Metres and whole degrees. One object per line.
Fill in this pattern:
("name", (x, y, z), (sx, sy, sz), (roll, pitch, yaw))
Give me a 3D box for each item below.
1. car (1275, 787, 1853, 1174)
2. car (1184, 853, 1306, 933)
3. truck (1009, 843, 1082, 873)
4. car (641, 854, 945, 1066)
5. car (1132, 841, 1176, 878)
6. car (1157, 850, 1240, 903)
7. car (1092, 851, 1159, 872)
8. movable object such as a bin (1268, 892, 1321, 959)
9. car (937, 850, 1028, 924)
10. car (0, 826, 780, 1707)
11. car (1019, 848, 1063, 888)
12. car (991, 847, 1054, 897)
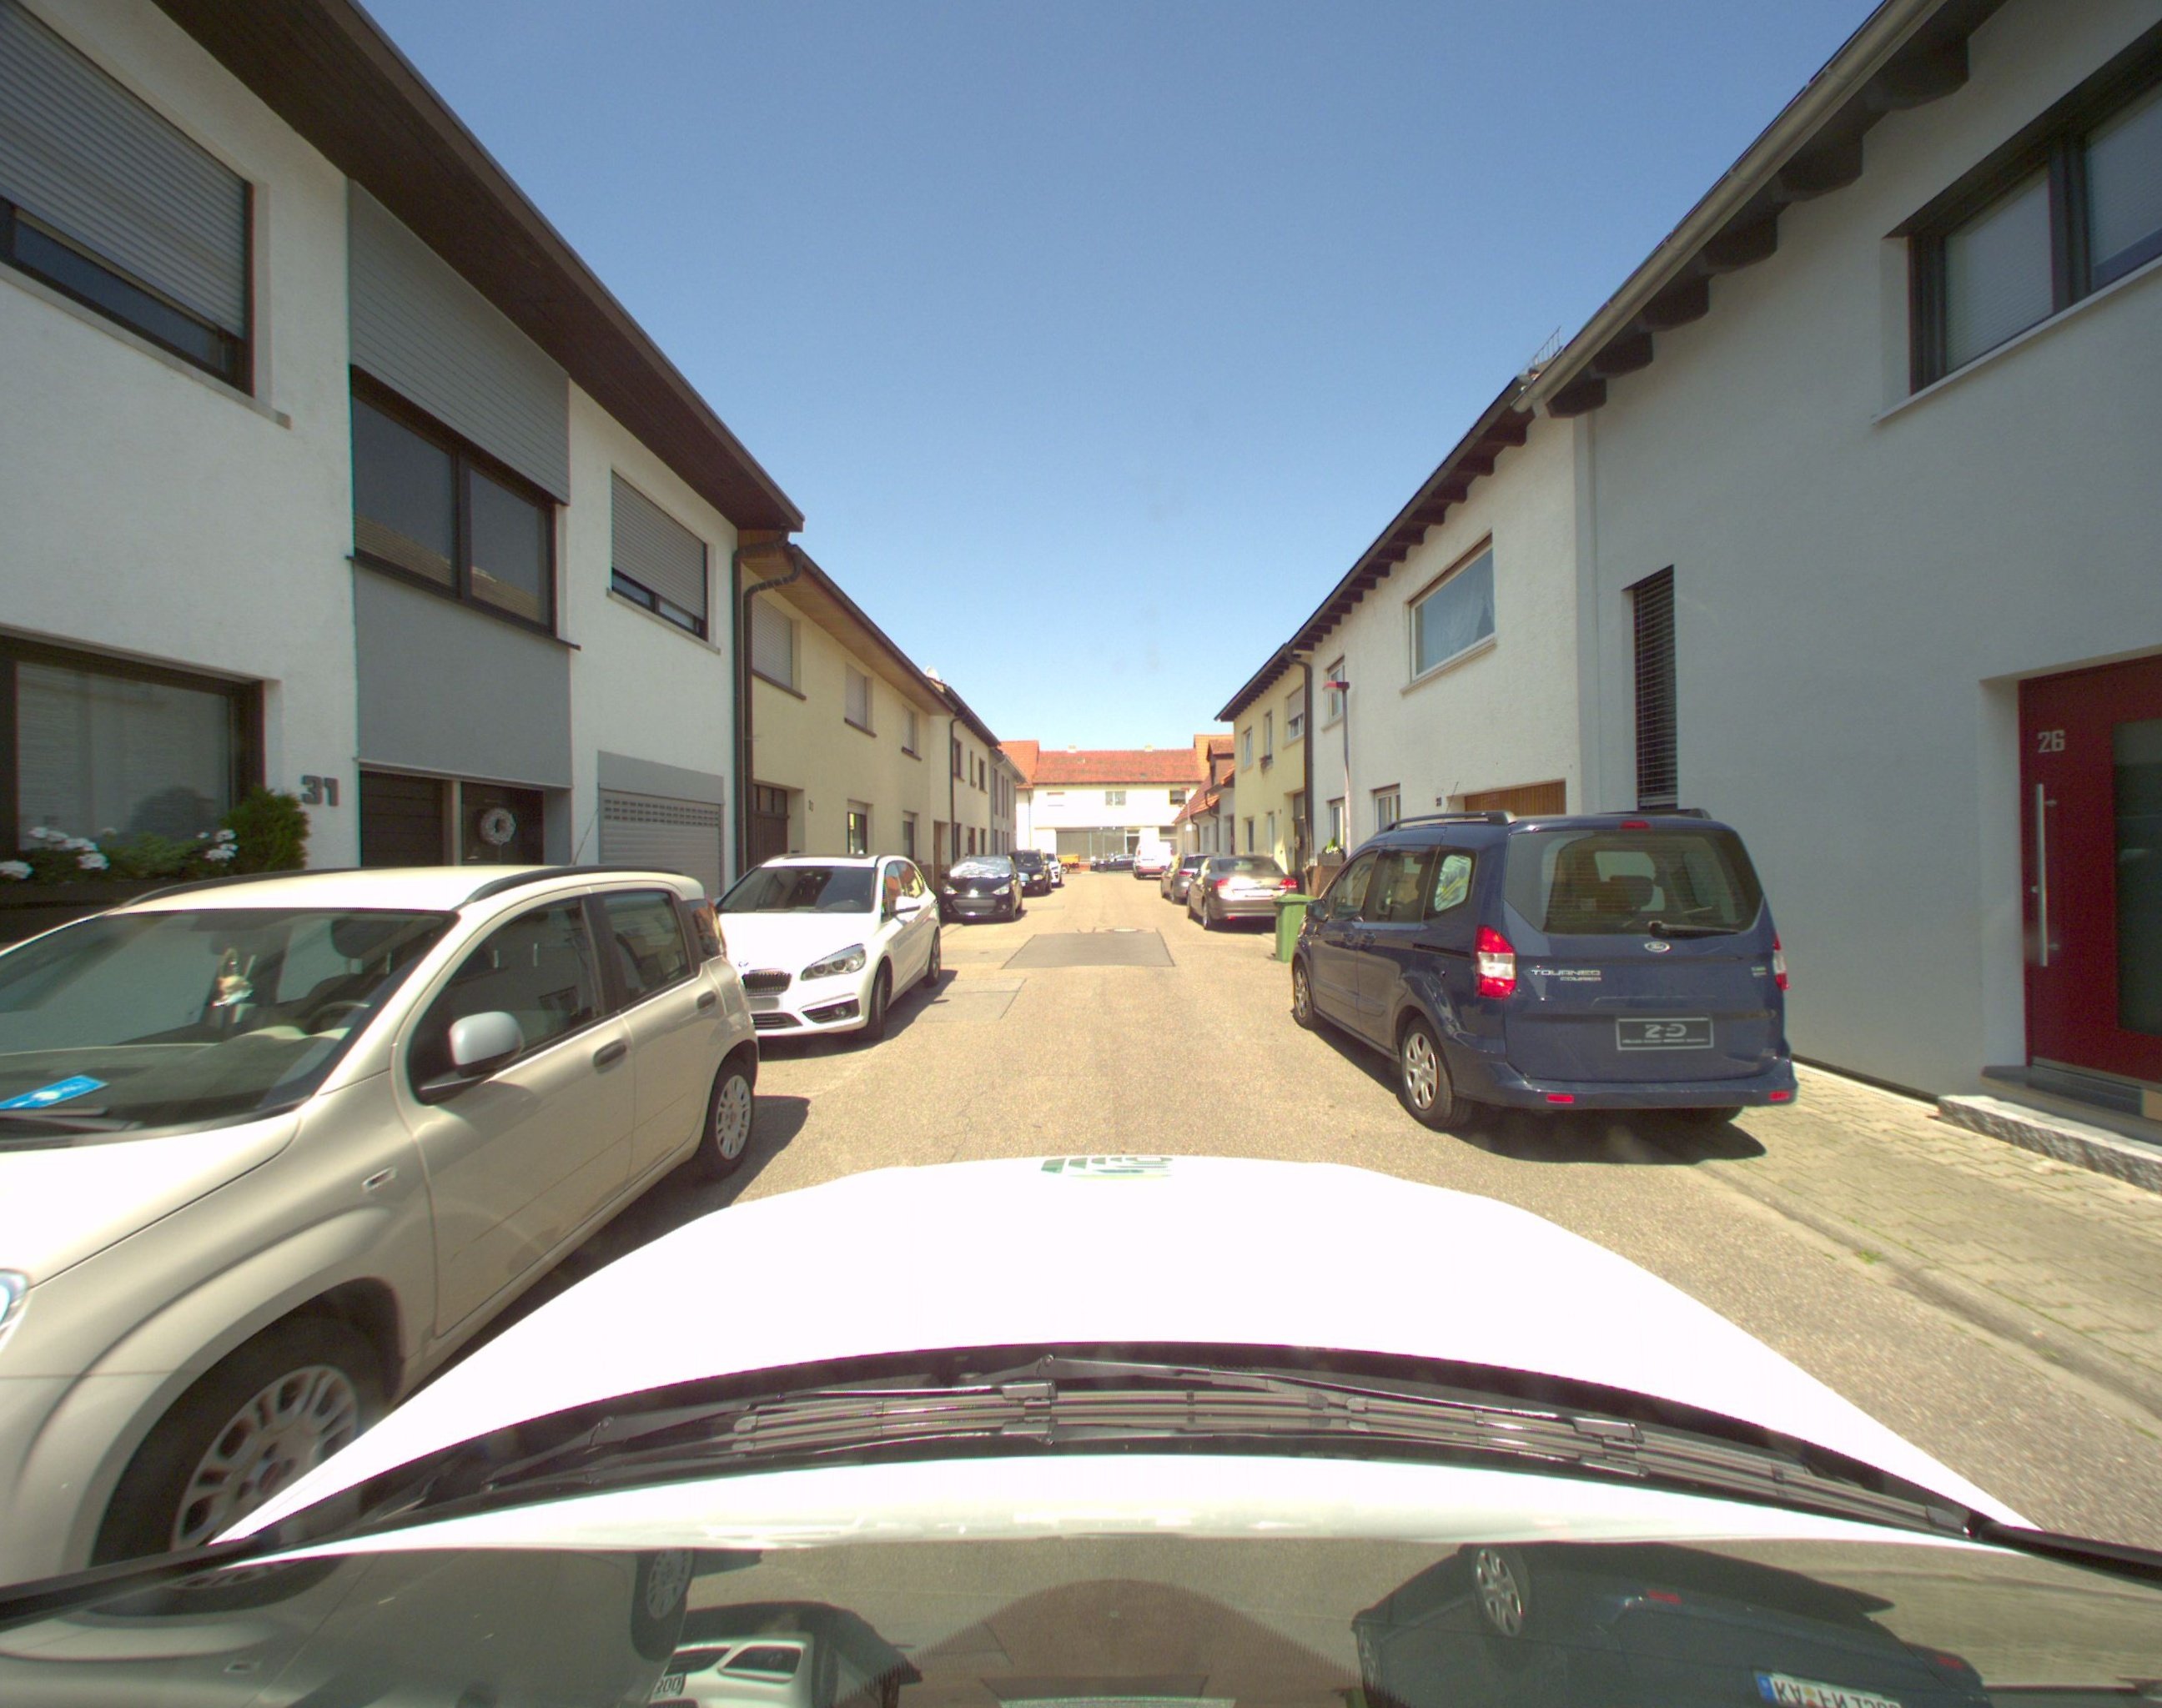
("car", (2.735, 0.582, 5.857), (1.691, 1.777, 4.199), (0, 0, 0))
("car", (3.203, 0.700, 16.664), (1.691, 1.435, 4.102), (0, 0, 0))
("truck", (-2.457, 0.303, 57.593), (5.045, 2.014, 2.190), (0, -1, 1))
("car", (-2.471, 0.785, 8.034), (1.658, 1.549, 3.940), (-1, 0, -1))
("car", (3.801, 0.264, 43.144), (2.005, 1.839, 5.266), (0, 0, 1))
("car", (3.443, 0.610, 24.655), (1.832, 1.448, 4.775), (0, 0, 0))
("car", (3.096, 0.539, 57.494), (4.602, 1.394, 1.927), (0, -3, -1))
("movable object such as a bin", (2.978, 0.990, 11.409), (0.549, 0.892, 0.578), (0, -1, -6))
("car", (-2.246, 0.715, 19.424), (1.635, 1.537, 3.942), (-2, 0, 0))
("car", (-2.483, 0.767, 2.662), (1.658, 1.541, 3.686), (-2, -1, -2))
("car", (-1.687, 0.579, 35.621), (1.769, 1.615, 4.347), (-2, 0, -1))
("car", (-1.988, 0.588, 28.956), (1.715, 1.615, 3.992), (-2, 0, 3))
